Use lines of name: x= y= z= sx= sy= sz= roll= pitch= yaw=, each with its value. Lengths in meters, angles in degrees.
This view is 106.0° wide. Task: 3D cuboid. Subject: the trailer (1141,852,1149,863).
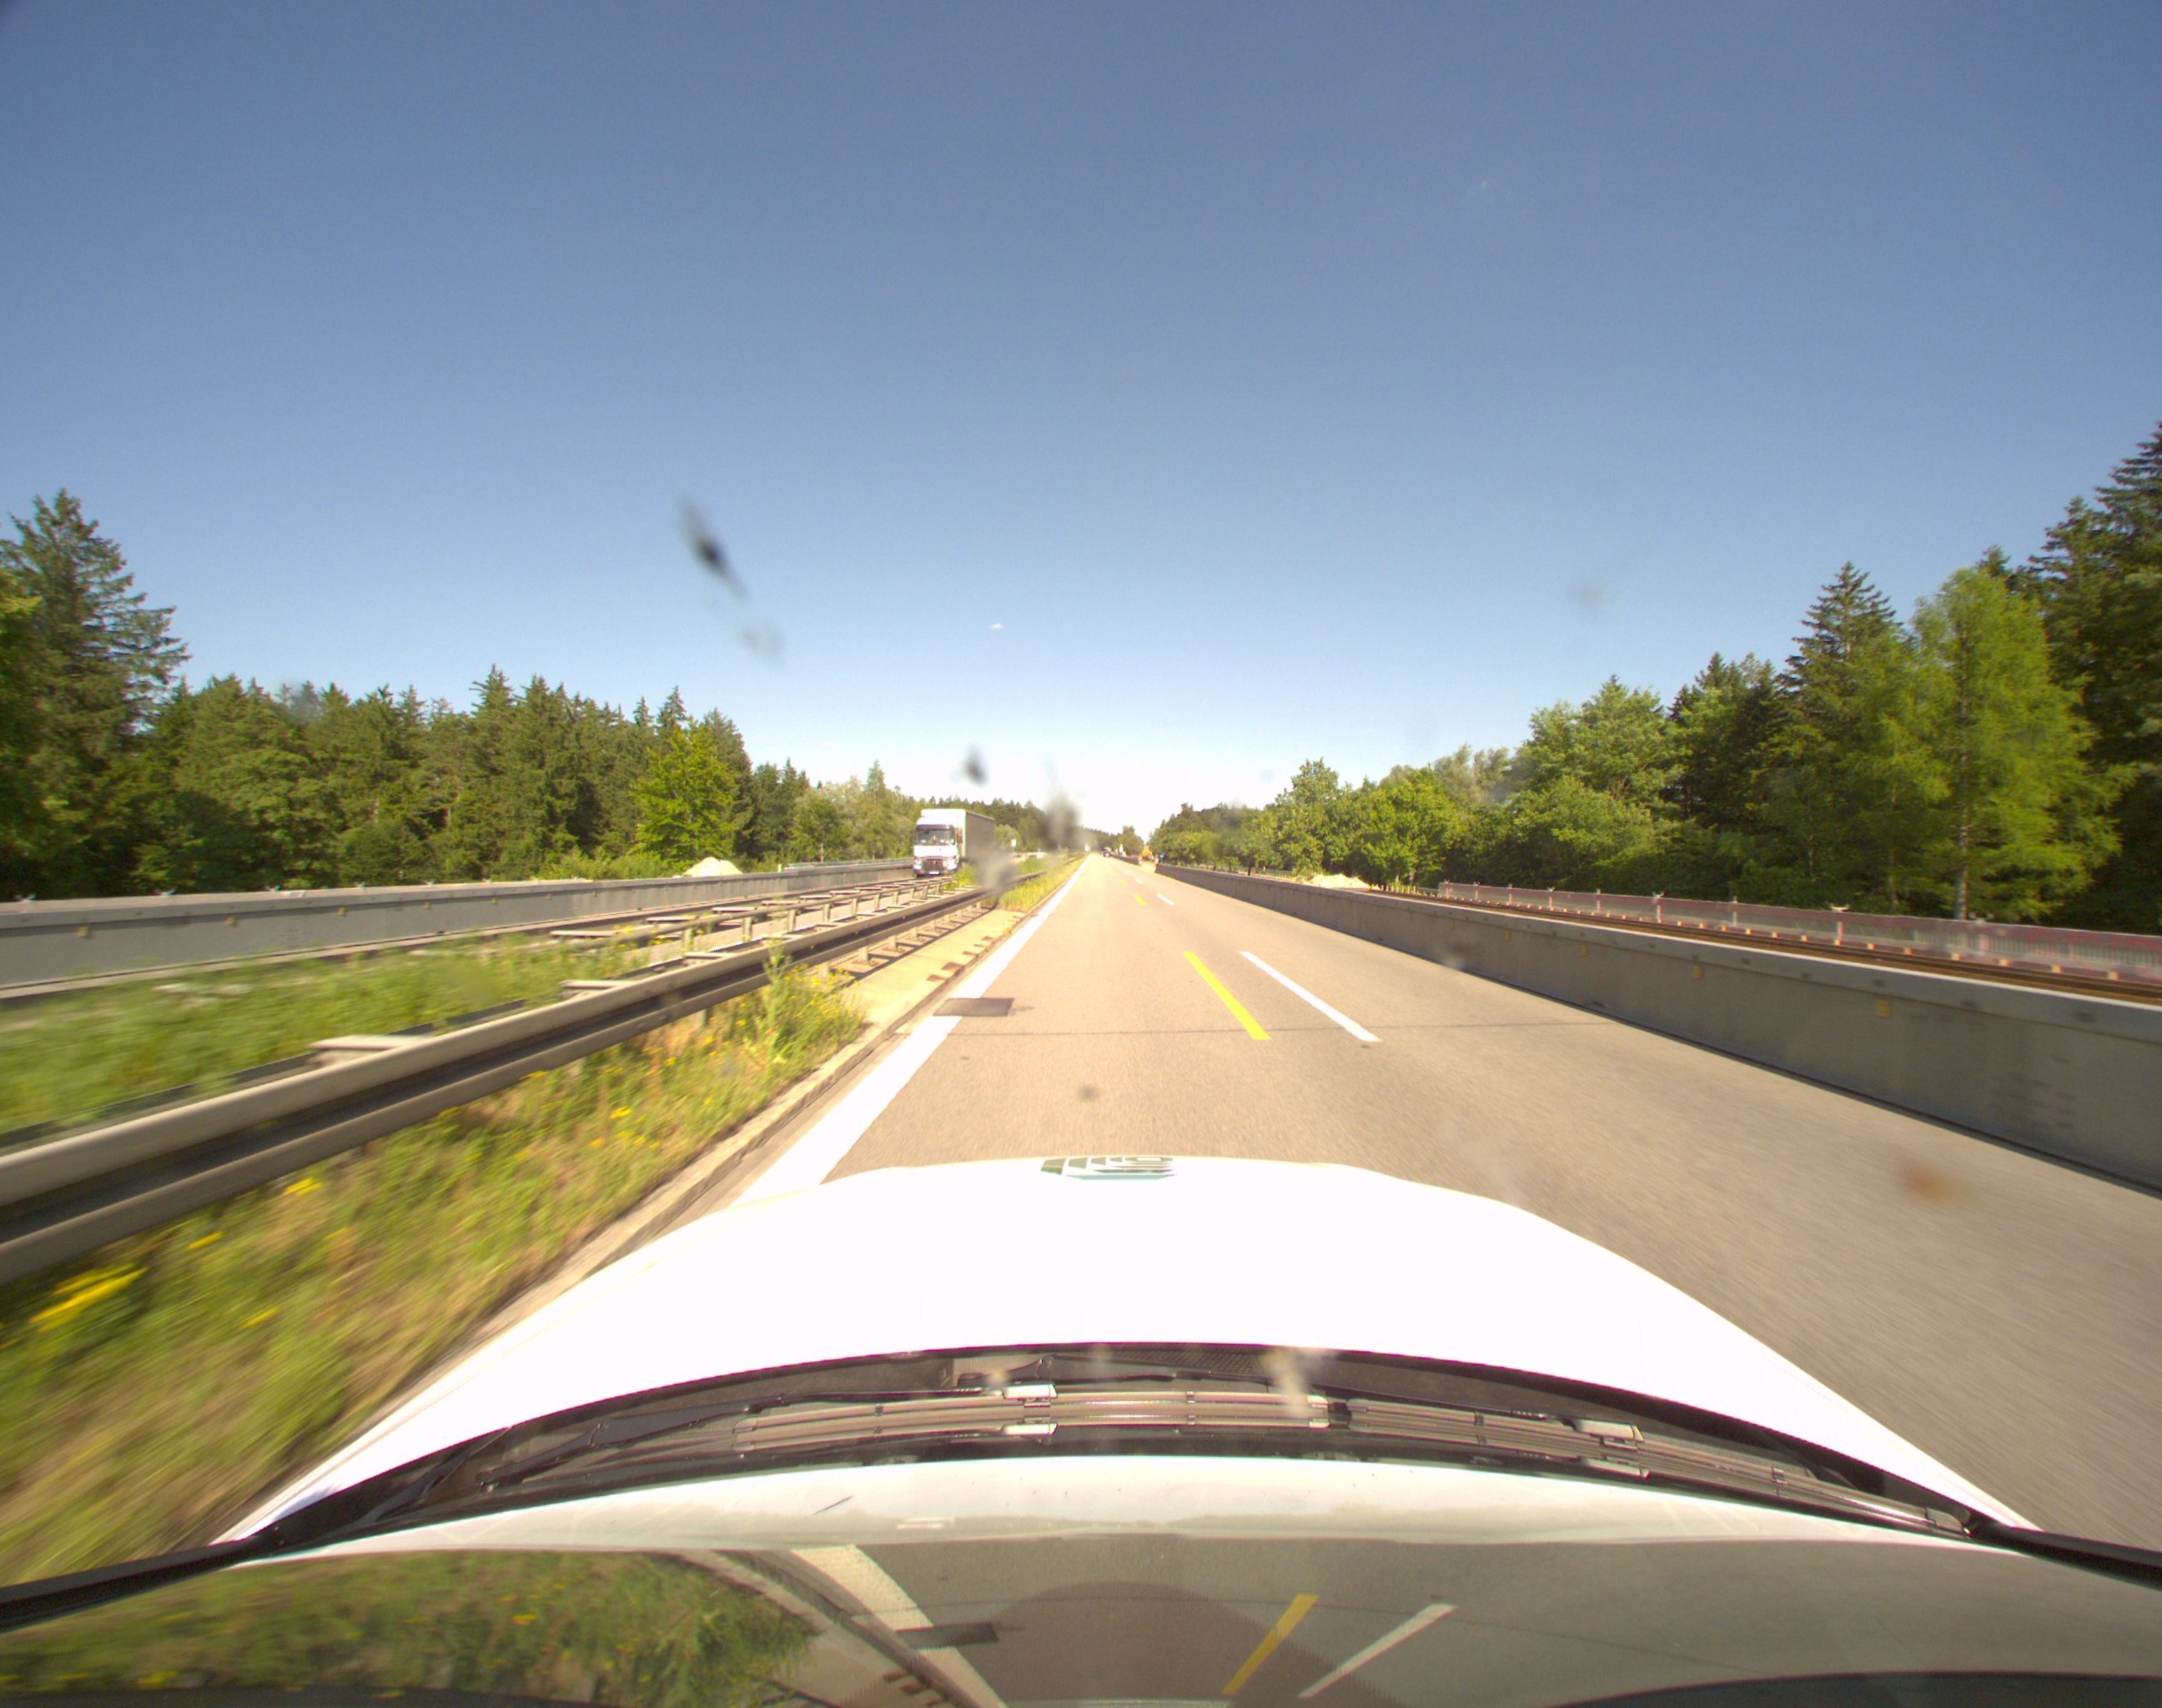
trailer: x=12.186 y=0.658 z=155.314 sx=1.121 sy=1.873 sz=3.998 roll=1 pitch=0 yaw=-1

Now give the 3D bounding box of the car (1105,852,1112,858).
car: x=7.265 y=0.165 z=213.551 sx=1.738 sy=1.466 sz=4.294 roll=1 pitch=0 yaw=1

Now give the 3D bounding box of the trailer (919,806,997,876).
trailer: x=-7.936 y=-0.758 z=54.794 sx=2.731 sy=4.070 sz=13.999 roll=-1 pitch=0 yaw=1

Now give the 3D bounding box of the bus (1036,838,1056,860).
bus: x=-6.068 y=-0.896 z=143.920 sx=2.872 sy=3.670 sz=12.917 roll=2 pitch=0 yaw=0

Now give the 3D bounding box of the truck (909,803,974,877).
truck: x=-8.129 y=-0.798 z=48.154 sx=2.760 sy=4.088 sz=5.476 roll=-1 pitch=0 yaw=1
